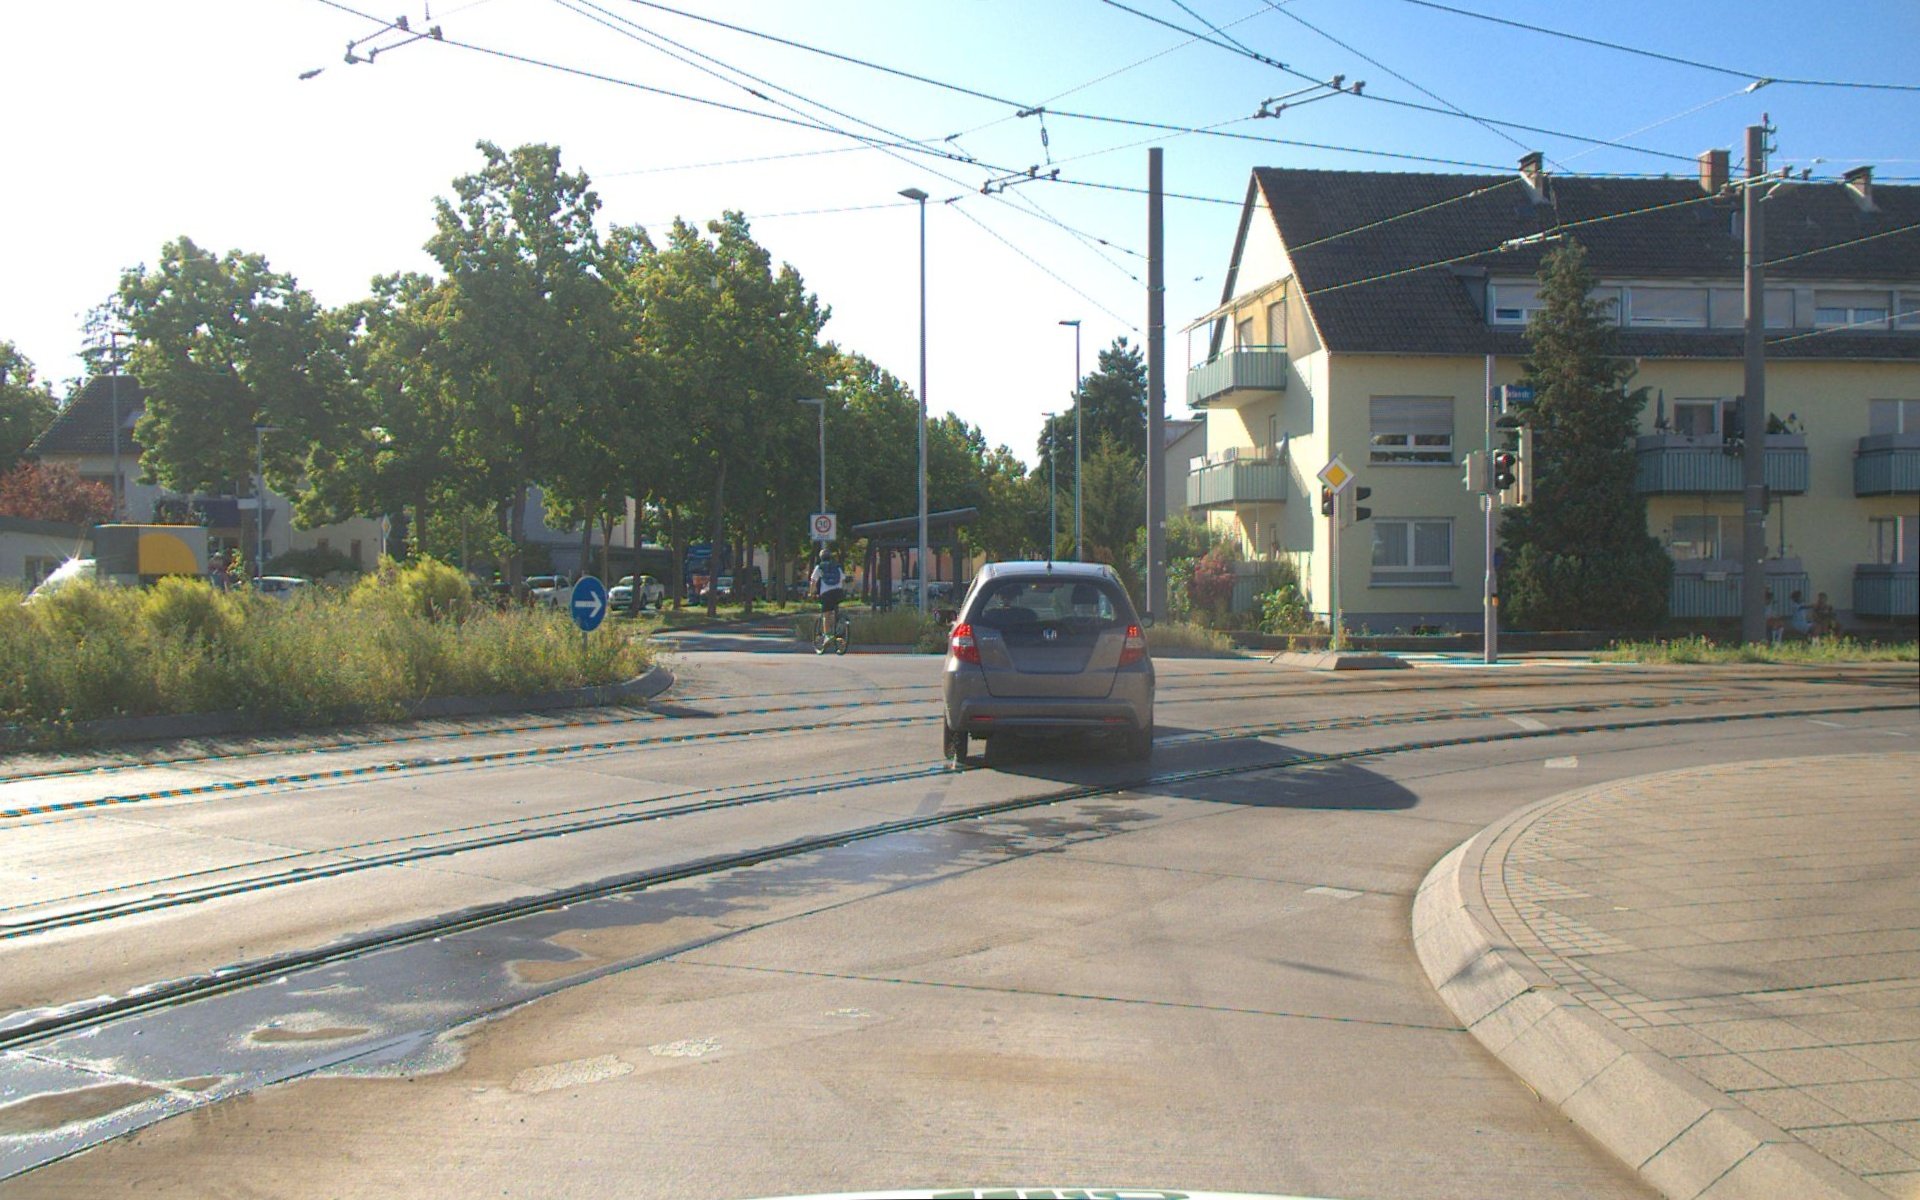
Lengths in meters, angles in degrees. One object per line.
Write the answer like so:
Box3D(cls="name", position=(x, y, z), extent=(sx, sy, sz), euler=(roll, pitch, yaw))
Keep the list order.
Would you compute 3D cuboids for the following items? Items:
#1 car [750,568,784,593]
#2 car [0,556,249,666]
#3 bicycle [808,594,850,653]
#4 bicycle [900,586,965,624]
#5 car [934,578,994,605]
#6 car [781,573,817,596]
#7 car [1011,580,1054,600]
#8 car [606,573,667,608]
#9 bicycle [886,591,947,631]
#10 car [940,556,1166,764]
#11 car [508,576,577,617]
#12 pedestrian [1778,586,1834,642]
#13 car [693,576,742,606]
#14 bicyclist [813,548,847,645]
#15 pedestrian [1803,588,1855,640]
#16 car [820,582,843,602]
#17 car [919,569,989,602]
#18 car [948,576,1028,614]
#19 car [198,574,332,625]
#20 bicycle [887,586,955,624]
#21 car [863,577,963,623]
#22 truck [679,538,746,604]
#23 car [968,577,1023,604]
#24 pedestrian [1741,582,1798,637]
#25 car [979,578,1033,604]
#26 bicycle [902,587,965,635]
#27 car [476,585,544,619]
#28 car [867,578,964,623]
Box3D(cls="car", position=(-14.012, -1.400, 120.257), extent=(1.952, 1.729, 4.219), euler=(1, 1, 1))
Box3D(cls="car", position=(-16.987, 0.232, 33.277), extent=(1.951, 2.016, 5.240), euler=(-2, -1, 18))
Box3D(cls="bicycle", position=(-2.410, 0.445, 30.299), extent=(0.751, 1.055, 1.532), euler=(0, -2, -5))
Box3D(cls="bicycle", position=(-0.795, 0.137, 46.903), extent=(1.804, 1.045, 0.689), euler=(1, 0, -3))
Box3D(cls="car", position=(0.266, -0.491, 95.927), extent=(3.340, 1.560, 1.526), euler=(0, 1, 5))
Box3D(cls="car", position=(-12.565, -1.179, 129.165), extent=(1.951, 1.729, 4.221), euler=(1, 1, 5))
Box3D(cls="car", position=(5.976, -0.810, 136.411), extent=(3.444, 1.560, 1.578), euler=(1, 0, 0))
Box3D(cls="car", position=(-17.721, -0.517, 90.782), extent=(1.951, 1.803, 5.063), euler=(1, 1, 5))
Box3D(cls="bicycle", position=(-1.191, 0.307, 45.378), extent=(1.656, 1.045, 0.599), euler=(1, 0, -3))
Box3D(cls="car", position=(0.715, 0.408, 14.167), extent=(1.653, 1.517, 3.915), euler=(1, 1, 1))
Box3D(cls="car", position=(-18.715, -0.189, 74.242), extent=(1.952, 1.729, 4.219), euler=(1, 1, 1))
Box3D(cls="pedestrian", position=(16.937, 0.278, 33.129), extent=(0.620, 1.083, 0.809), euler=(1, 0, -39))
Box3D(cls="car", position=(-13.662, -0.501, 93.332), extent=(1.792, 1.608, 4.443), euler=(1, 1, 4))
Box3D(cls="bicyclist", position=(-2.399, -0.060, 30.484), extent=(0.591, 1.744, 0.544), euler=(-1, -3, -4))
Box3D(cls="pedestrian", position=(17.515, 0.278, 33.345), extent=(0.587, 1.023, 0.717), euler=(1, 0, -30))
Box3D(cls="car", position=(-11.005, -0.722, 141.841), extent=(1.613, 1.677, 3.569), euler=(1, 1, 1))
Box3D(cls="car", position=(-0.268, -0.717, 83.308), extent=(3.444, 1.560, 1.578), euler=(1, 0, 1))
Box3D(cls="car", position=(1.226, -0.240, 72.070), extent=(3.444, 1.560, 1.578), euler=(1, 0, 1))
Box3D(cls="car", position=(-25.045, -0.028, 59.679), extent=(3.953, 1.724, 2.001), euler=(1, 0, 2))
Box3D(cls="bicycle", position=(-1.120, 0.150, 47.796), extent=(1.933, 1.045, 0.696), euler=(1, 0, -3))
Box3D(cls="car", position=(-1.667, -0.012, 59.419), extent=(3.444, 1.560, 1.578), euler=(1, 0, 1))
Box3D(cls="truck", position=(-16.151, -1.920, 108.433), extent=(3.006, 4.062, 8.010), euler=(1, 1, 1))
Box3D(cls="car", position=(2.164, -0.597, 101.667), extent=(3.290, 1.560, 1.523), euler=(1, 0, 0))
Box3D(cls="pedestrian", position=(16.115, 0.181, 32.924), extent=(0.673, 1.064, 0.818), euler=(0, 1, -8))
Box3D(cls="car", position=(2.960, -0.584, 106.431), extent=(3.407, 1.519, 1.552), euler=(1, 0, 0))
Box3D(cls="bicycle", position=(-0.718, 0.284, 44.109), extent=(1.632, 1.229, 0.689), euler=(1, 0, -3))
Box3D(cls="car", position=(-18.855, 0.070, 69.433), extent=(1.922, 1.347, 3.998), euler=(1, 1, -3))
Box3D(cls="car", position=(-1.628, 0.002, 61.185), extent=(3.444, 1.560, 1.578), euler=(1, 0, 1))
